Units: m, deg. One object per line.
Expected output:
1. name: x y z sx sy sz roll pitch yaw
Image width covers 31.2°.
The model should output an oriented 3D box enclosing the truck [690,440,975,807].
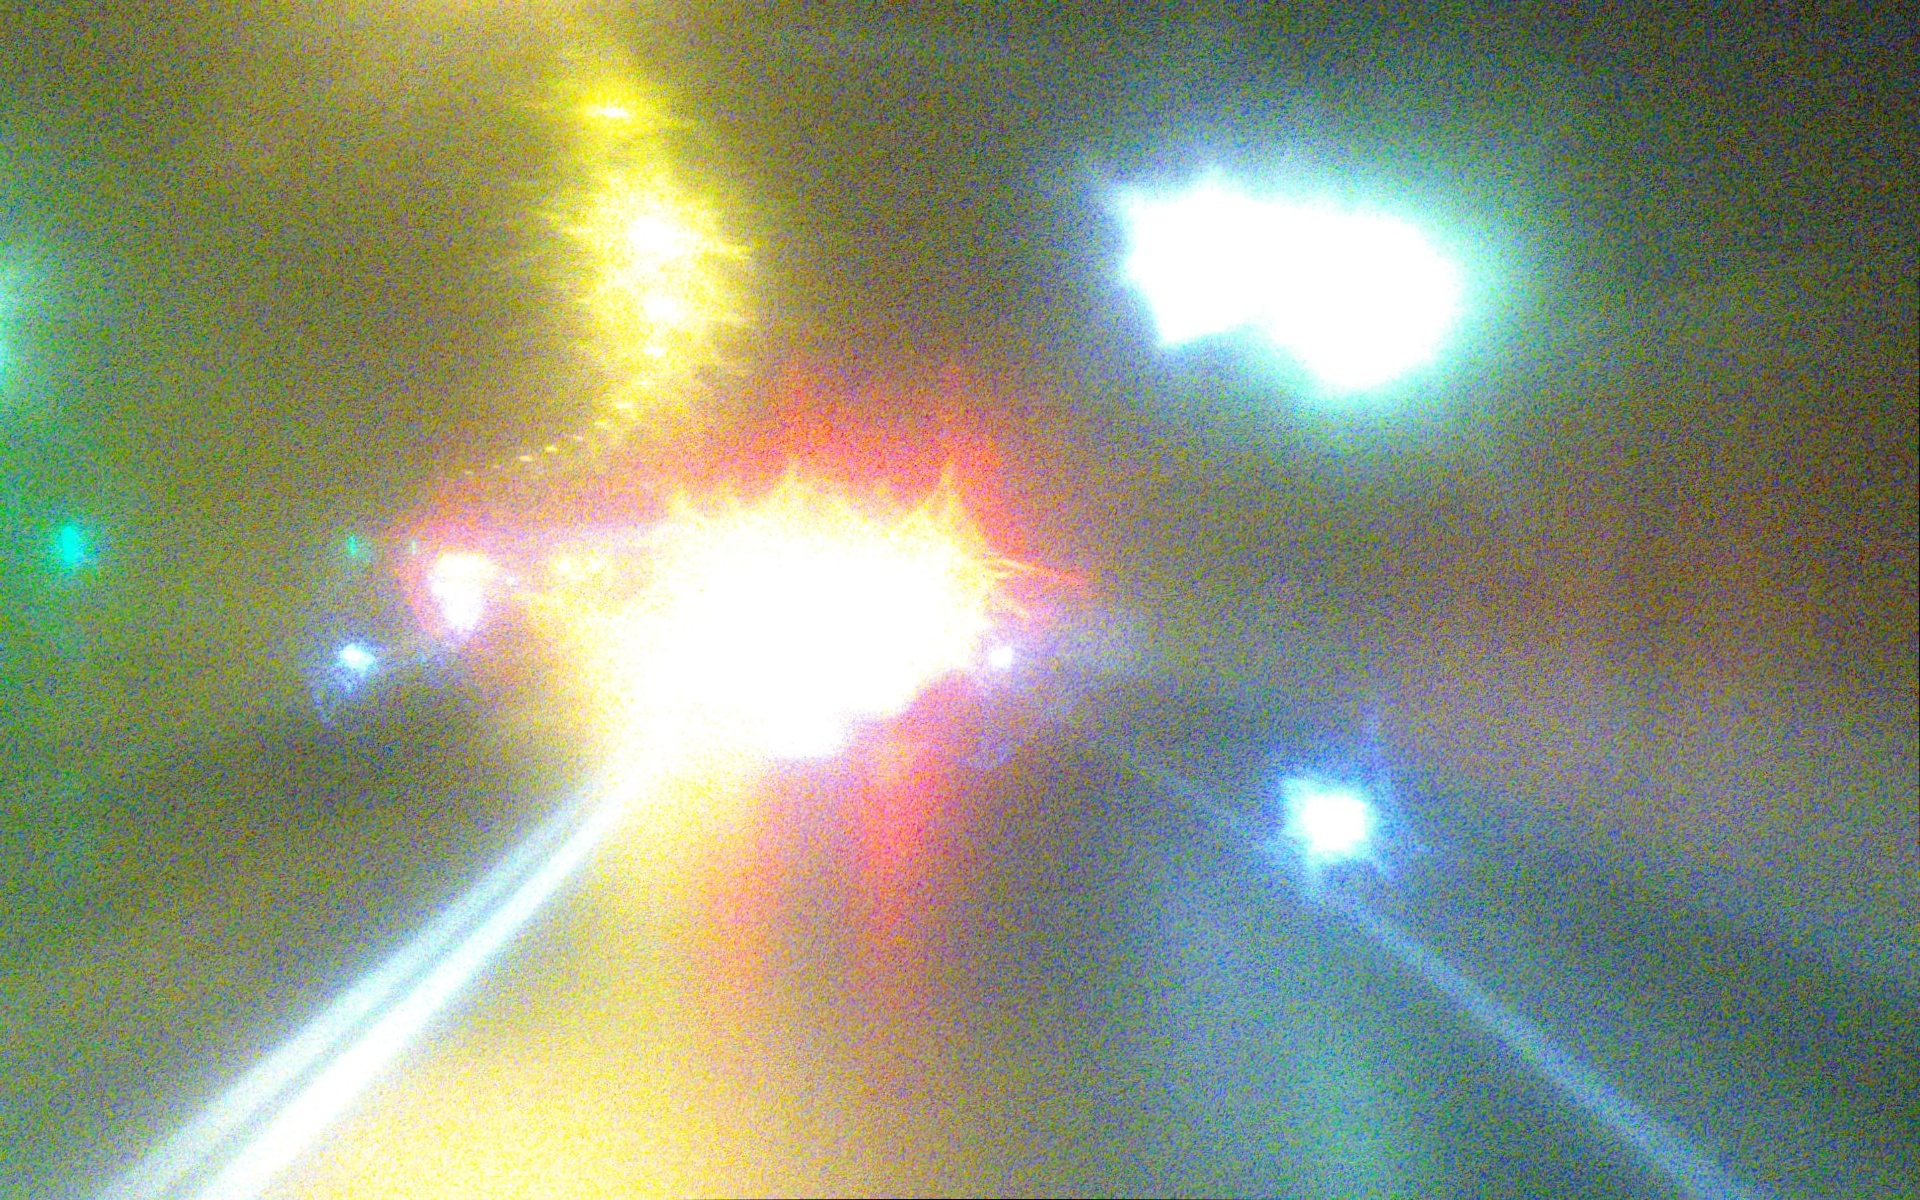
1. truck: -1.177 0.141 32.723 2.262 3.000 7.416 3 1 -2
